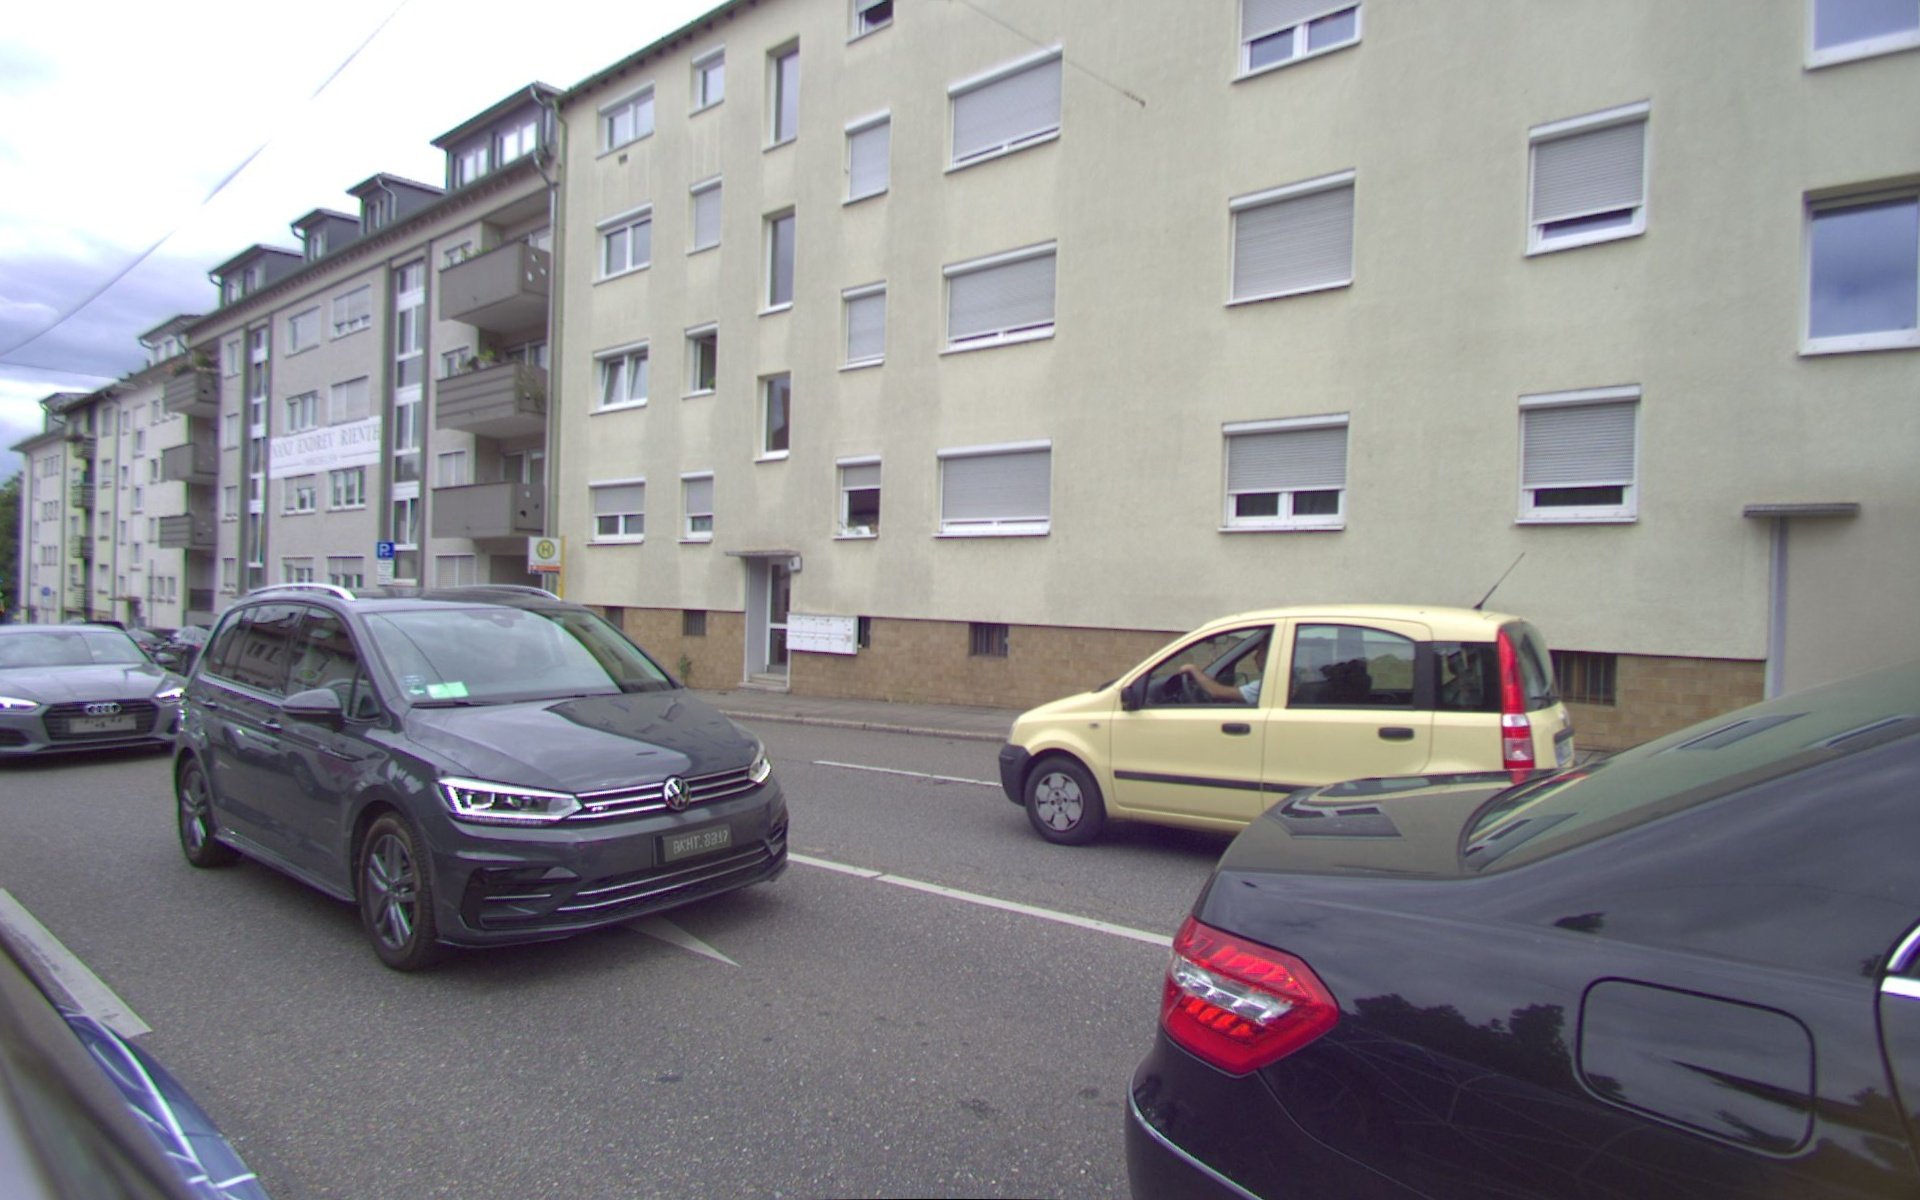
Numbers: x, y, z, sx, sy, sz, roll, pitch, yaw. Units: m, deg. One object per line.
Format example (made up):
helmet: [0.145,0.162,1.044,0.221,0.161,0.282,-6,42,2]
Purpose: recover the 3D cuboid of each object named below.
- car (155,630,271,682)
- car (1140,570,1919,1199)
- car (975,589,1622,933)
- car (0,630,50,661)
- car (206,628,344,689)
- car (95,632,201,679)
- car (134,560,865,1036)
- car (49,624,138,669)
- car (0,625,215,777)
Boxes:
car: [-21.435,1.573,29.011,3.533,1.386,1.649,-1,-3,36]
car: [2.737,0.663,0.669,4.840,1.439,1.973,-1,-1,41]
car: [1.927,0.760,6.247,3.457,1.529,1.581,-1,-3,40]
car: [-46.069,2.200,49.353,3.752,1.414,1.755,-1,-3,36]
car: [-17.573,1.464,25.923,3.680,1.422,1.755,-1,-3,36]
car: [-26.224,1.760,32.672,3.533,1.414,1.755,-1,-3,36]
car: [-2.779,0.688,5.575,4.474,1.623,1.840,-1,0,38]
car: [-33.122,1.757,38.655,3.533,1.613,1.755,-1,-3,36]
car: [-9.858,0.973,11.110,4.144,1.365,1.857,-1,-2,41]
